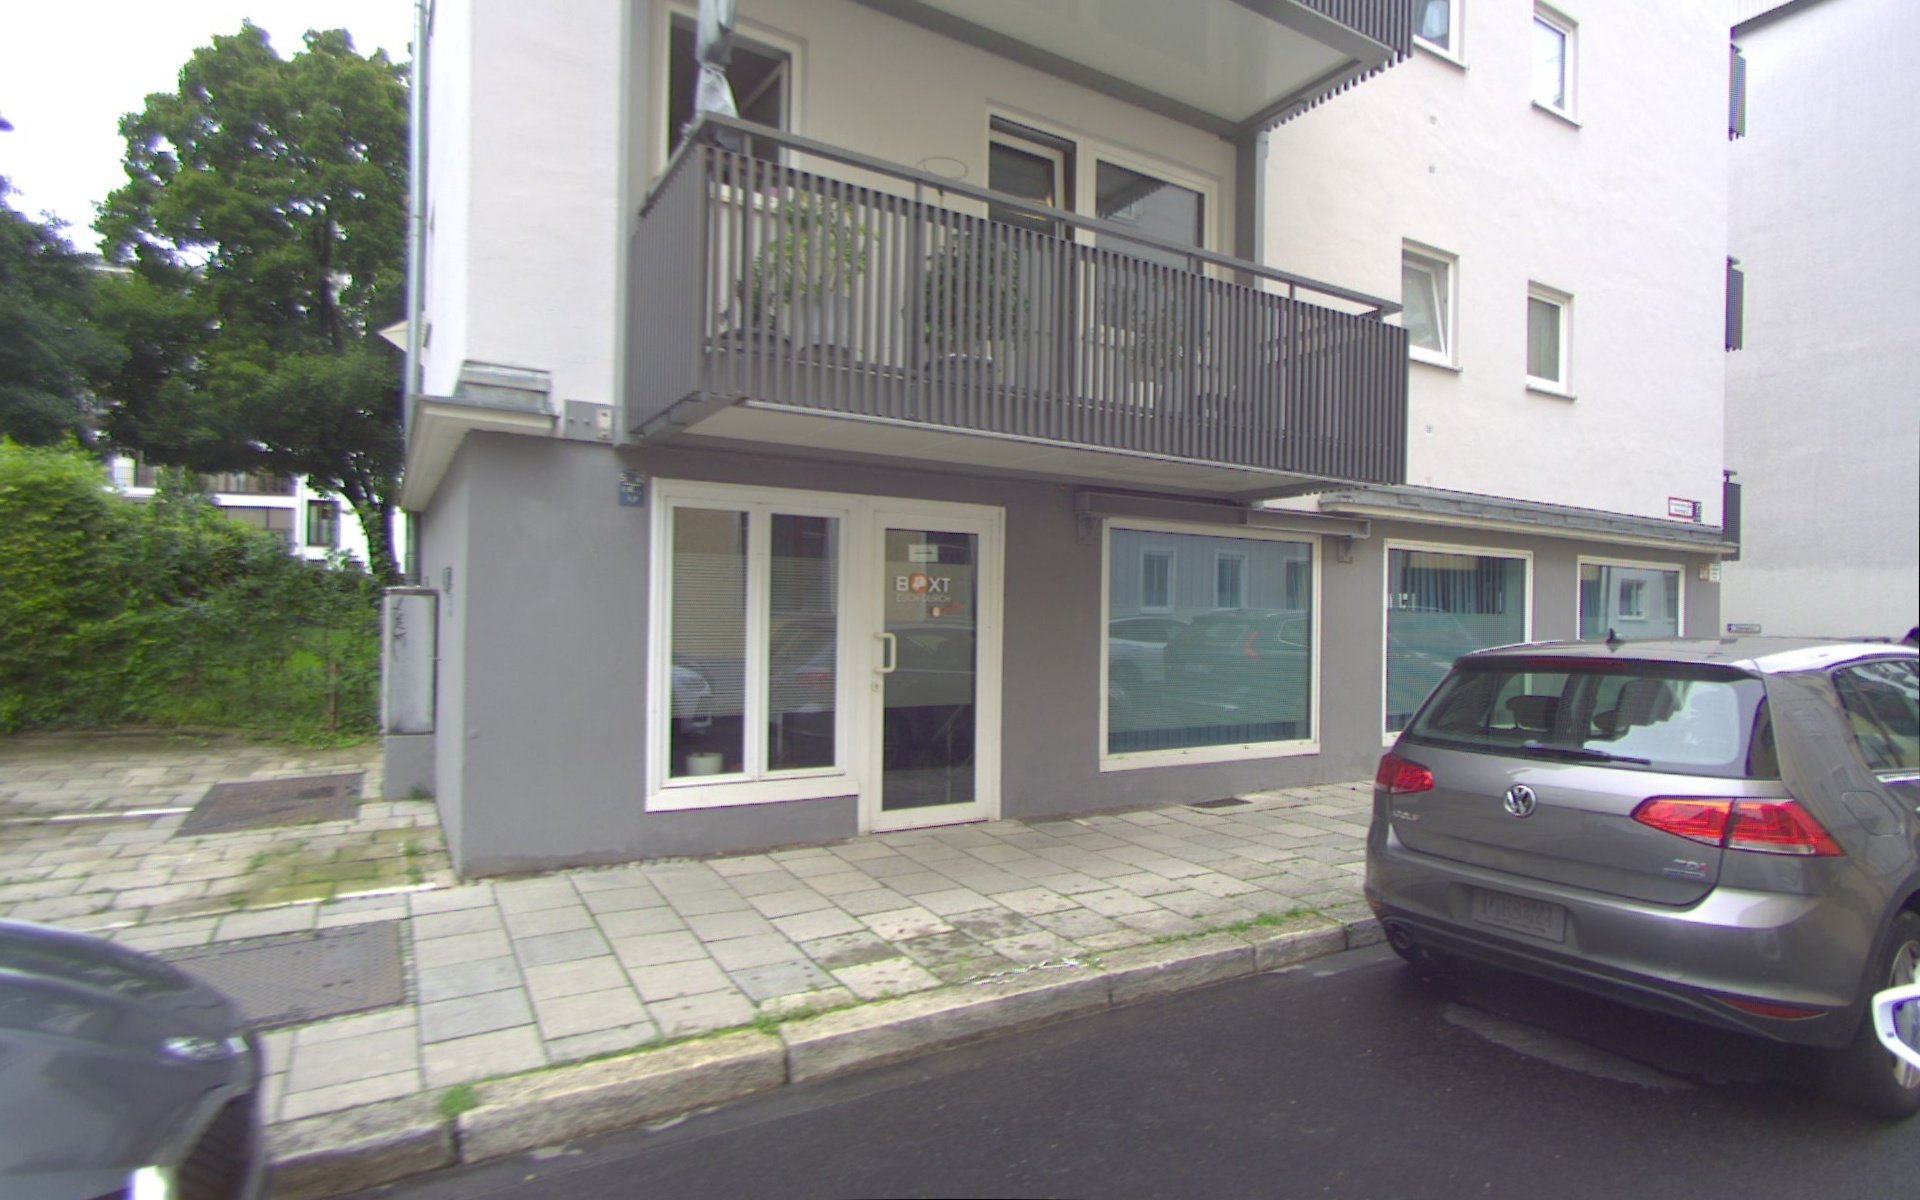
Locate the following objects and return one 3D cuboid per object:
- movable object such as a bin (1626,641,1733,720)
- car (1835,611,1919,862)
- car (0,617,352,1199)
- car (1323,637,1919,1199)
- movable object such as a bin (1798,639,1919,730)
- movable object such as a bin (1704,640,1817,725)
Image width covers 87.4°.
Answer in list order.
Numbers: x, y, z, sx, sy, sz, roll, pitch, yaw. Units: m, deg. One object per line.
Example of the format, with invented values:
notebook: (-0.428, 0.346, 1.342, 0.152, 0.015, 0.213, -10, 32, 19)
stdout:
movable object such as a bin: (12.856, 1.420, 17.985, 0.980, 1.354, 1.227, 1, -3, -27)
car: (8.416, 0.934, 7.376, 4.364, 1.651, 1.768, 1, -2, -31)
car: (-2.796, 0.733, 0.781, 3.896, 1.461, 1.685, 1, -2, -30)
car: (3.552, 0.898, 4.359, 3.933, 1.461, 1.684, 1, -2, -32)
movable object such as a bin: (14.165, 1.304, 15.818, 1.012, 1.354, 1.162, 1, -3, -27)
movable object such as a bin: (13.358, 1.360, 16.785, 0.980, 1.354, 1.154, 1, -3, -27)
